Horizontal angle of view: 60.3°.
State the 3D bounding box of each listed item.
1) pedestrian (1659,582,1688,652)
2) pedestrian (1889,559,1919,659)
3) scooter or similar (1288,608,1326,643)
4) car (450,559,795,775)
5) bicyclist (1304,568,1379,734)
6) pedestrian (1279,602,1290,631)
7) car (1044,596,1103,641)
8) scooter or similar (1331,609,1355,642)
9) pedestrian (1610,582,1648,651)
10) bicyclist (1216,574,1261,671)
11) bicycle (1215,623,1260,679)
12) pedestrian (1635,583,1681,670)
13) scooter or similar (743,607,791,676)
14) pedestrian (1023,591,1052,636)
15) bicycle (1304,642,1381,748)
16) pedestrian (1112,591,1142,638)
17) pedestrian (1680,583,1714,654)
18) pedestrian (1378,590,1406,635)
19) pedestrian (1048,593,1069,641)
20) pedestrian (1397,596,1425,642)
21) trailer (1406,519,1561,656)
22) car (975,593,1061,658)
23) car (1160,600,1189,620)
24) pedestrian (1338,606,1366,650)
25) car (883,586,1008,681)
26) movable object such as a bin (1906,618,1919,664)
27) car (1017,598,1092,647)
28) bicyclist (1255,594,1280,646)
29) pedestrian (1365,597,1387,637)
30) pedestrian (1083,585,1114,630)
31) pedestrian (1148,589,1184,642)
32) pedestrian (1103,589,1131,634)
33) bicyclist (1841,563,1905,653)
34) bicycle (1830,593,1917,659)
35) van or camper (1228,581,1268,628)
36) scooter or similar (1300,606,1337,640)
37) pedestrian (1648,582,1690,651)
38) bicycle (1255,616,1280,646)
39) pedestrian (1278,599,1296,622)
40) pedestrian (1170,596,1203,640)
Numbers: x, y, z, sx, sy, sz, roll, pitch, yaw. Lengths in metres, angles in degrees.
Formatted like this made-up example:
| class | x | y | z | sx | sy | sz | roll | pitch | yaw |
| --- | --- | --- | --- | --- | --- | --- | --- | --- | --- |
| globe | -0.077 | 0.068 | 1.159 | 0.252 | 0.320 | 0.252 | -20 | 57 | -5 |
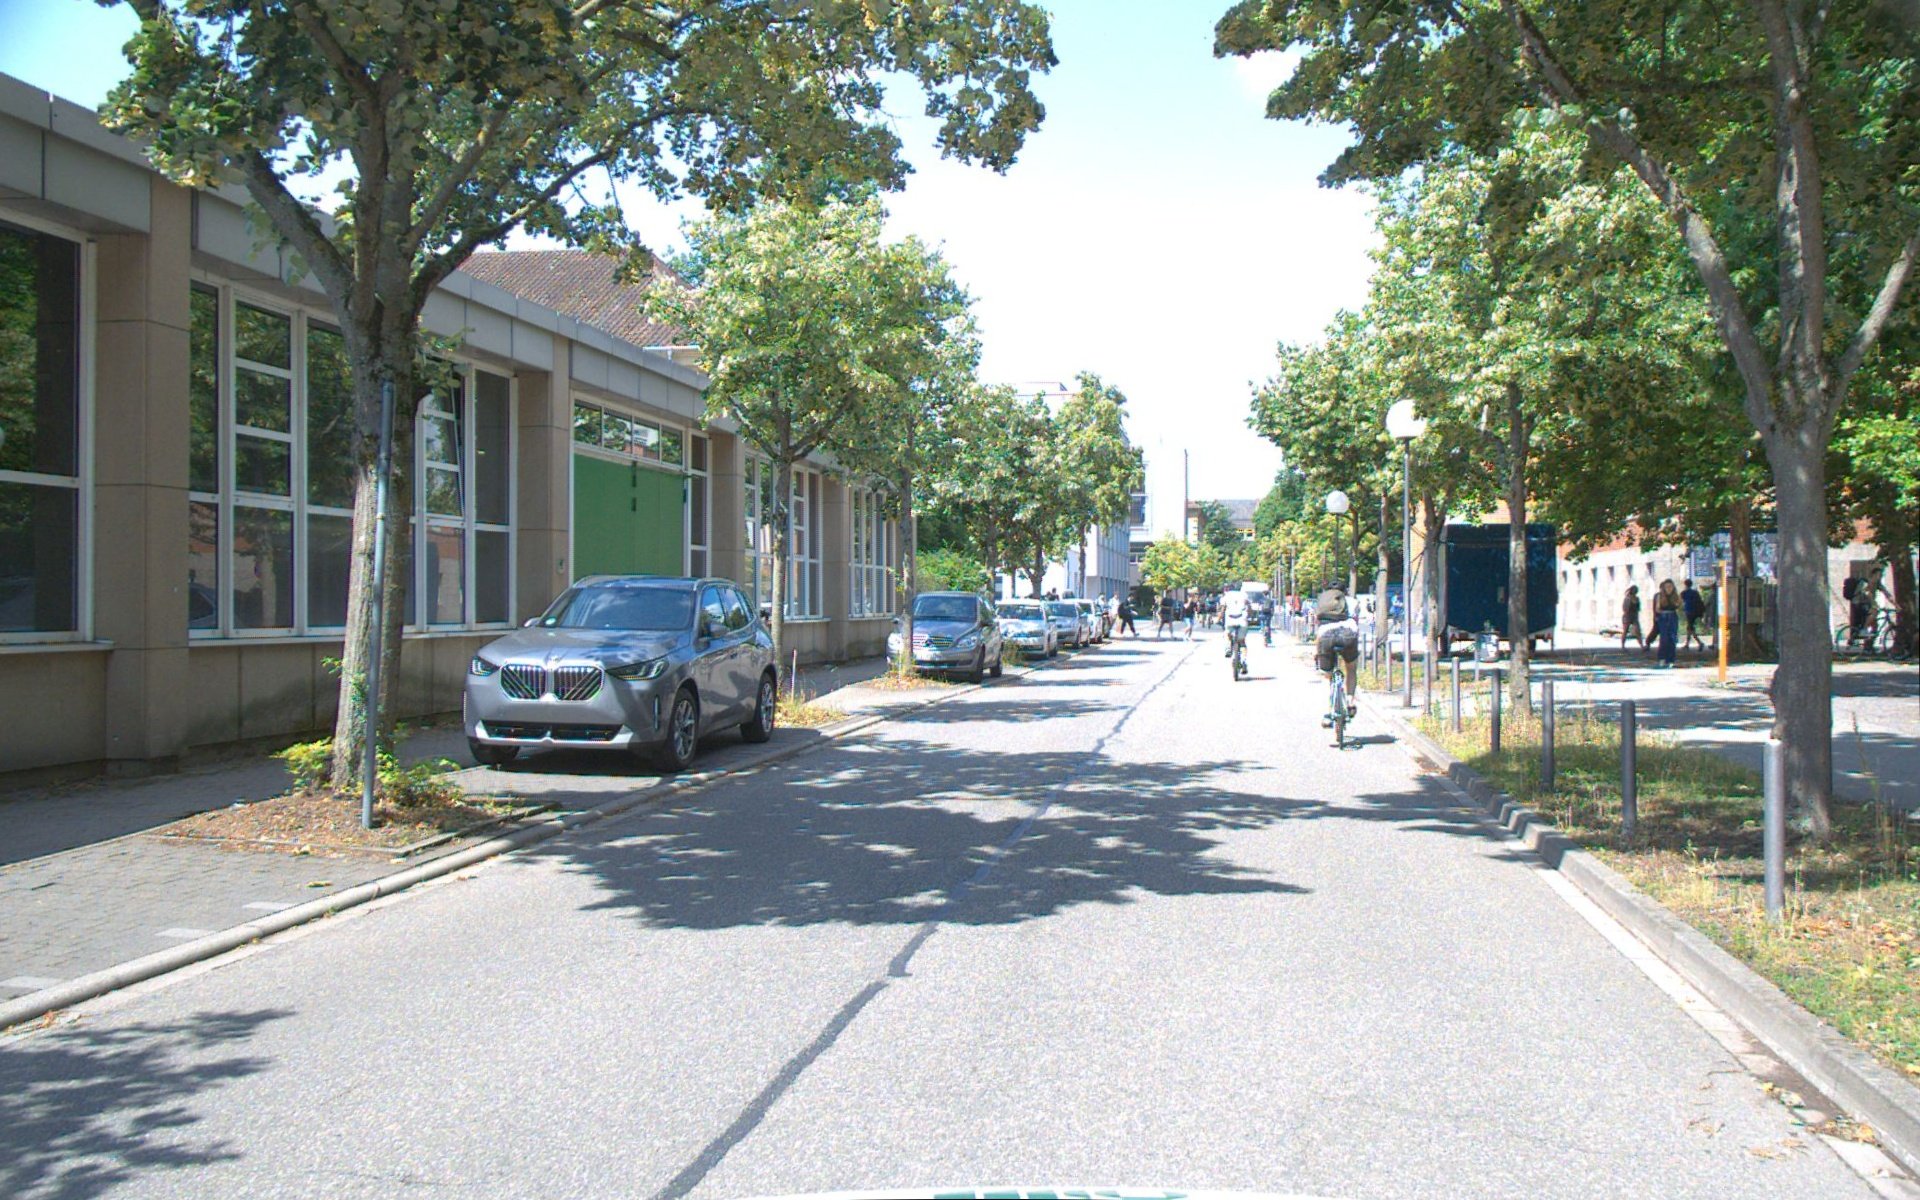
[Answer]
| class | x | y | z | sx | sy | sz | roll | pitch | yaw |
| --- | --- | --- | --- | --- | --- | --- | --- | --- | --- |
| pedestrian | 18.783 | 0.446 | 43.559 | 0.582 | 1.828 | 0.407 | -1 | 1 | 6 |
| pedestrian | 19.376 | 0.162 | 33.113 | 0.817 | 1.983 | 1.076 | -1 | 0 | -11 |
| scooter or similar | 12.955 | 0.930 | 61.757 | 1.242 | 1.287 | 0.647 | 0 | 0 | 42 |
| car | -2.959 | 0.544 | 15.604 | 1.783 | 1.661 | 4.520 | 2 | 0 | 7 |
| bicyclist | 4.005 | 0.519 | 17.422 | 0.702 | 1.691 | 1.096 | 1 | 0 | 10 |
| pedestrian | 21.847 | 1.111 | 111.372 | 0.773 | 1.892 | 1.026 | 0 | 0 | 11 |
| car | 3.924 | 0.611 | 56.663 | 1.627 | 1.436 | 3.810 | 2 | 0 | 9 |
| scooter or similar | 14.078 | 0.942 | 60.772 | 0.636 | 1.181 | 1.264 | 0 | 0 | 25 |
| pedestrian | 16.561 | 0.407 | 40.953 | 0.682 | 1.690 | 0.789 | 0 | -1 | 10 |
| bicyclist | 5.345 | 0.426 | 31.691 | 0.754 | 1.786 | 0.849 | 3 | 0 | 11 |
| bicycle | 5.354 | 0.966 | 31.816 | 0.791 | 1.020 | 2.125 | 1 | -1 | 11 |
| pedestrian | 13.041 | 0.500 | 30.926 | 0.556 | 1.599 | 0.928 | -1 | -1 | 10 |
| scooter or similar | -3.447 | 0.737 | 29.592 | 0.494 | 1.189 | 1.216 | 2 | 0 | 10 |
| pedestrian | 3.265 | 0.557 | 69.894 | 0.788 | 1.802 | 0.851 | 6 | 3 | 35 |
| bicycle | 4.014 | 0.973 | 17.453 | 0.691 | 1.010 | 1.912 | 0 | 0 | 10 |
| pedestrian | 6.546 | 0.570 | 64.863 | 0.970 | 1.750 | 0.703 | 0 | -5 | 19 |
| pedestrian | 19.438 | 0.473 | 43.619 | 0.582 | 1.828 | 0.728 | -2 | 1 | 6 |
| pedestrian | 18.436 | 0.530 | 70.603 | 0.700 | 1.817 | 0.746 | -7 | 2 | -26 |
| pedestrian | 4.189 | 0.720 | 70.547 | 0.607 | 2.015 | 0.823 | 0 | -2 | -22 |
| pedestrian | 16.990 | 0.700 | 62.321 | 0.857 | 1.666 | 0.950 | -4 | 0 | 10 |
| trailer | 12.780 | -0.265 | 40.858 | 2.634 | 3.105 | 6.262 | -1 | 0 | 8 |
| car | 1.534 | 0.625 | 42.112 | 1.688 | 1.482 | 4.587 | 2 | 0 | 8 |
| car | 16.524 | 0.750 | 127.300 | 1.757 | 1.557 | 4.003 | 0 | 0 | 13 |
| pedestrian | 16.361 | 1.180 | 68.981 | 0.939 | 1.723 | 0.705 | 5 | 3 | 20 |
| car | -0.200 | 0.596 | 31.090 | 1.720 | 1.583 | 4.116 | 2 | 0 | 8 |
| movable object such as a bin | 23.162 | 1.001 | 39.678 | 0.586 | 1.090 | 0.743 | 0 | -2 | 10 |
| car | 2.931 | 0.664 | 50.492 | 1.688 | 1.367 | 4.169 | 2 | 0 | 11 |
| bicyclist | 10.640 | 0.685 | 57.197 | 0.791 | 1.787 | 0.693 | 1 | -1 | 10 |
| pedestrian | 17.711 | 0.726 | 70.401 | 0.495 | 1.658 | 0.566 | -7 | 2 | -26 |
| pedestrian | 5.599 | 0.308 | 66.991 | 0.695 | 1.769 | 0.968 | 2 | 0 | -44 |
| pedestrian | 7.933 | 0.594 | 63.748 | 0.843 | 1.891 | 1.106 | -2 | 6 | -30 |
| pedestrian | 6.399 | 0.469 | 67.362 | 0.673 | 1.769 | 0.895 | 1 | 0 | -42 |
| bicyclist | 18.261 | 0.156 | 33.107 | 0.520 | 1.759 | 1.076 | -1 | 0 | -10 |
| bicycle | 18.266 | 0.509 | 33.104 | 0.520 | 1.274 | 1.733 | -1 | 0 | -10 |
| van or camper | 15.687 | 0.298 | 89.939 | 1.951 | 2.489 | 4.573 | 0 | -1 | 12 |
| scooter or similar | 13.695 | 0.876 | 63.242 | 1.242 | 1.287 | 0.636 | 0 | 0 | 42 |
| pedestrian | 17.436 | 0.407 | 40.696 | 0.749 | 1.690 | 0.825 | 0 | -1 | 10 |
| bicycle | 10.635 | 1.067 | 57.204 | 0.791 | 1.020 | 2.125 | 1 | -1 | 10 |
| pedestrian | 30.559 | 0.998 | 154.482 | 1.467 | 2.031 | 1.648 | -3 | 0 | 8 |
| pedestrian | 8.385 | 0.652 | 61.233 | 0.840 | 1.623 | 0.821 | -1 | 0 | -33 |
